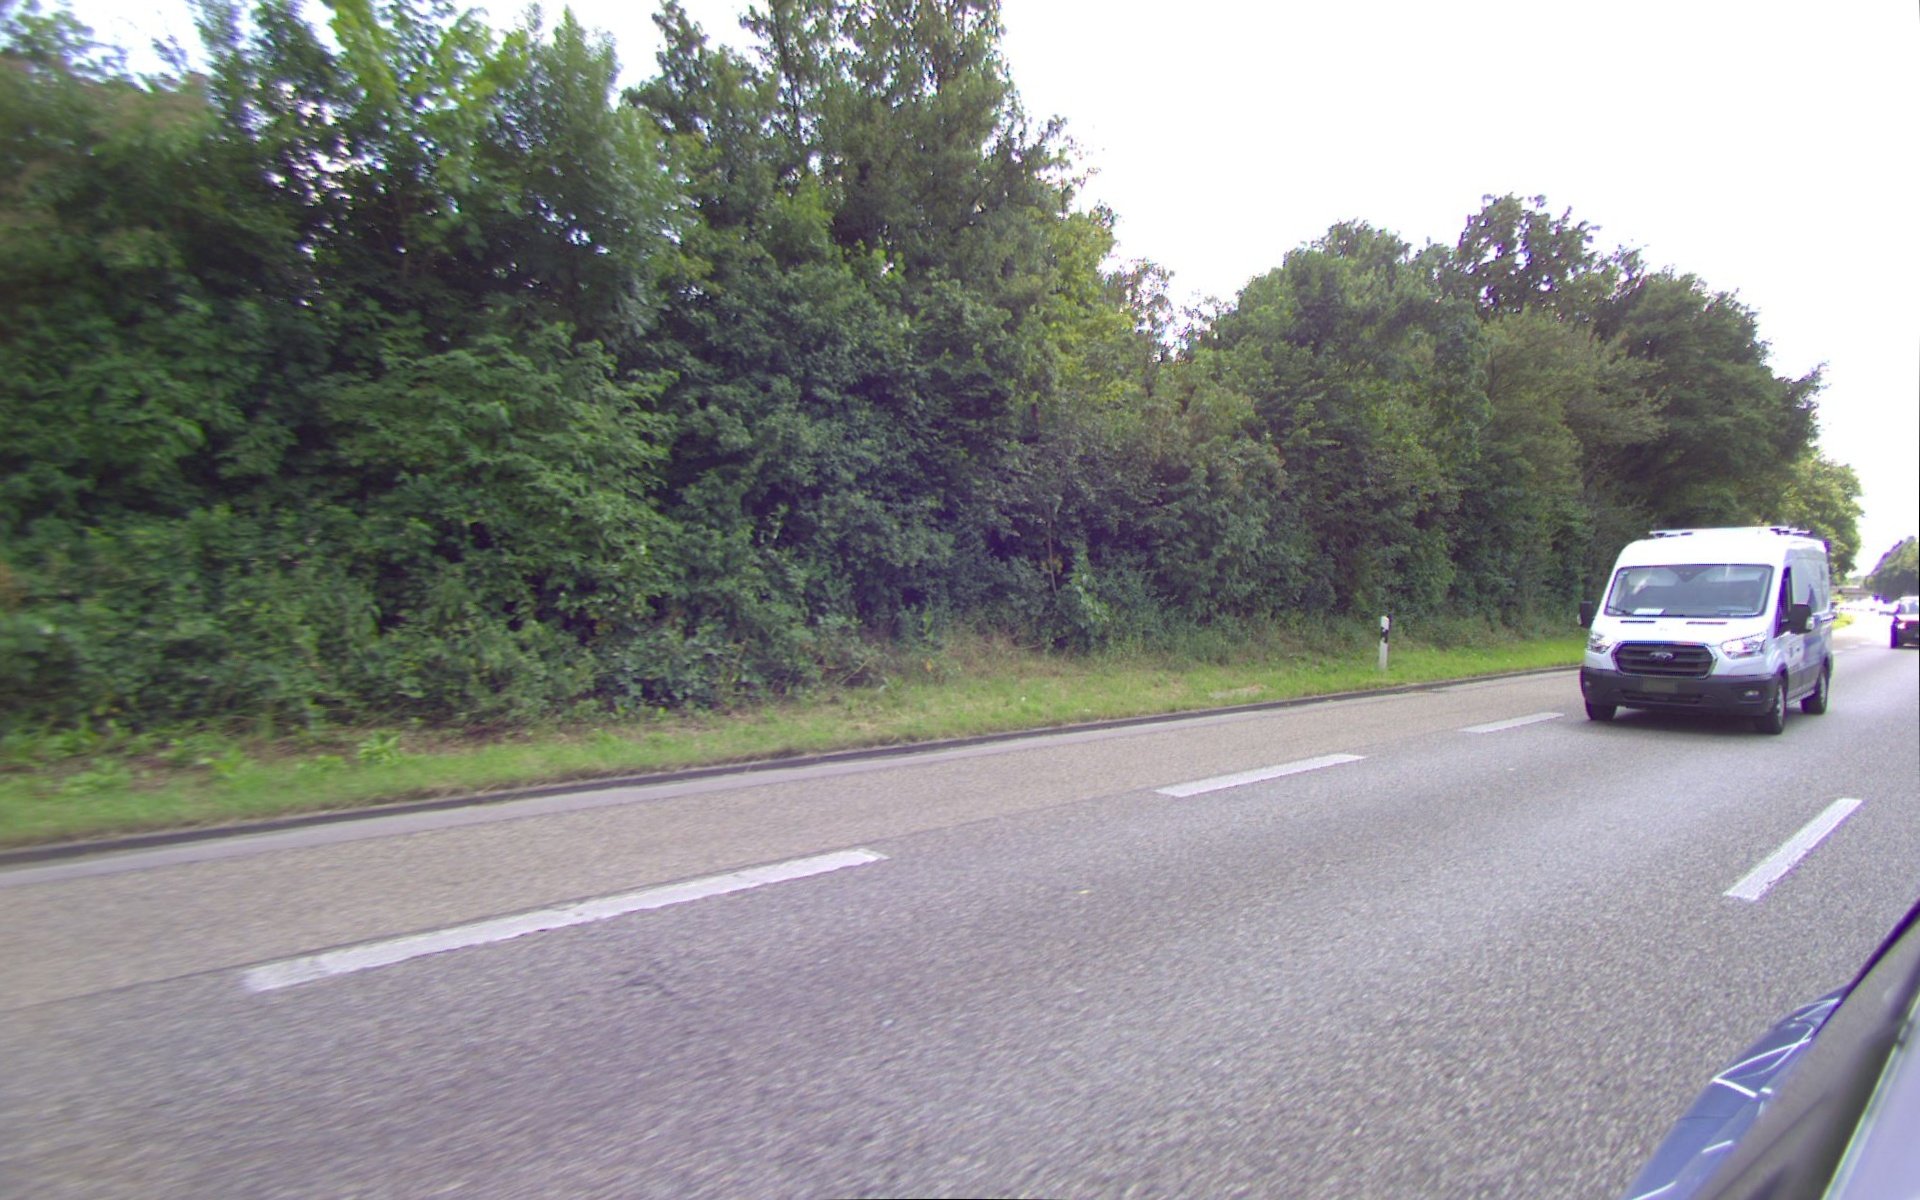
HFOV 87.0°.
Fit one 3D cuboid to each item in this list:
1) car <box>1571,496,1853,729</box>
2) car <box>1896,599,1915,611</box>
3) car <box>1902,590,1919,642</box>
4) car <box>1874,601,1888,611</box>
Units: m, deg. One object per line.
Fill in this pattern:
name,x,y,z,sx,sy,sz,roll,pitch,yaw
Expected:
car,10.224,0.146,13.578,5.189,2.539,2.101,0,-1,-43
car,125.520,0.637,134.390,1.781,1.540,3.937,2,1,44
car,35.292,0.558,36.317,4.322,1.828,1.905,0,0,-44
car,159.090,1.008,174.864,1.780,1.540,3.938,2,1,43
